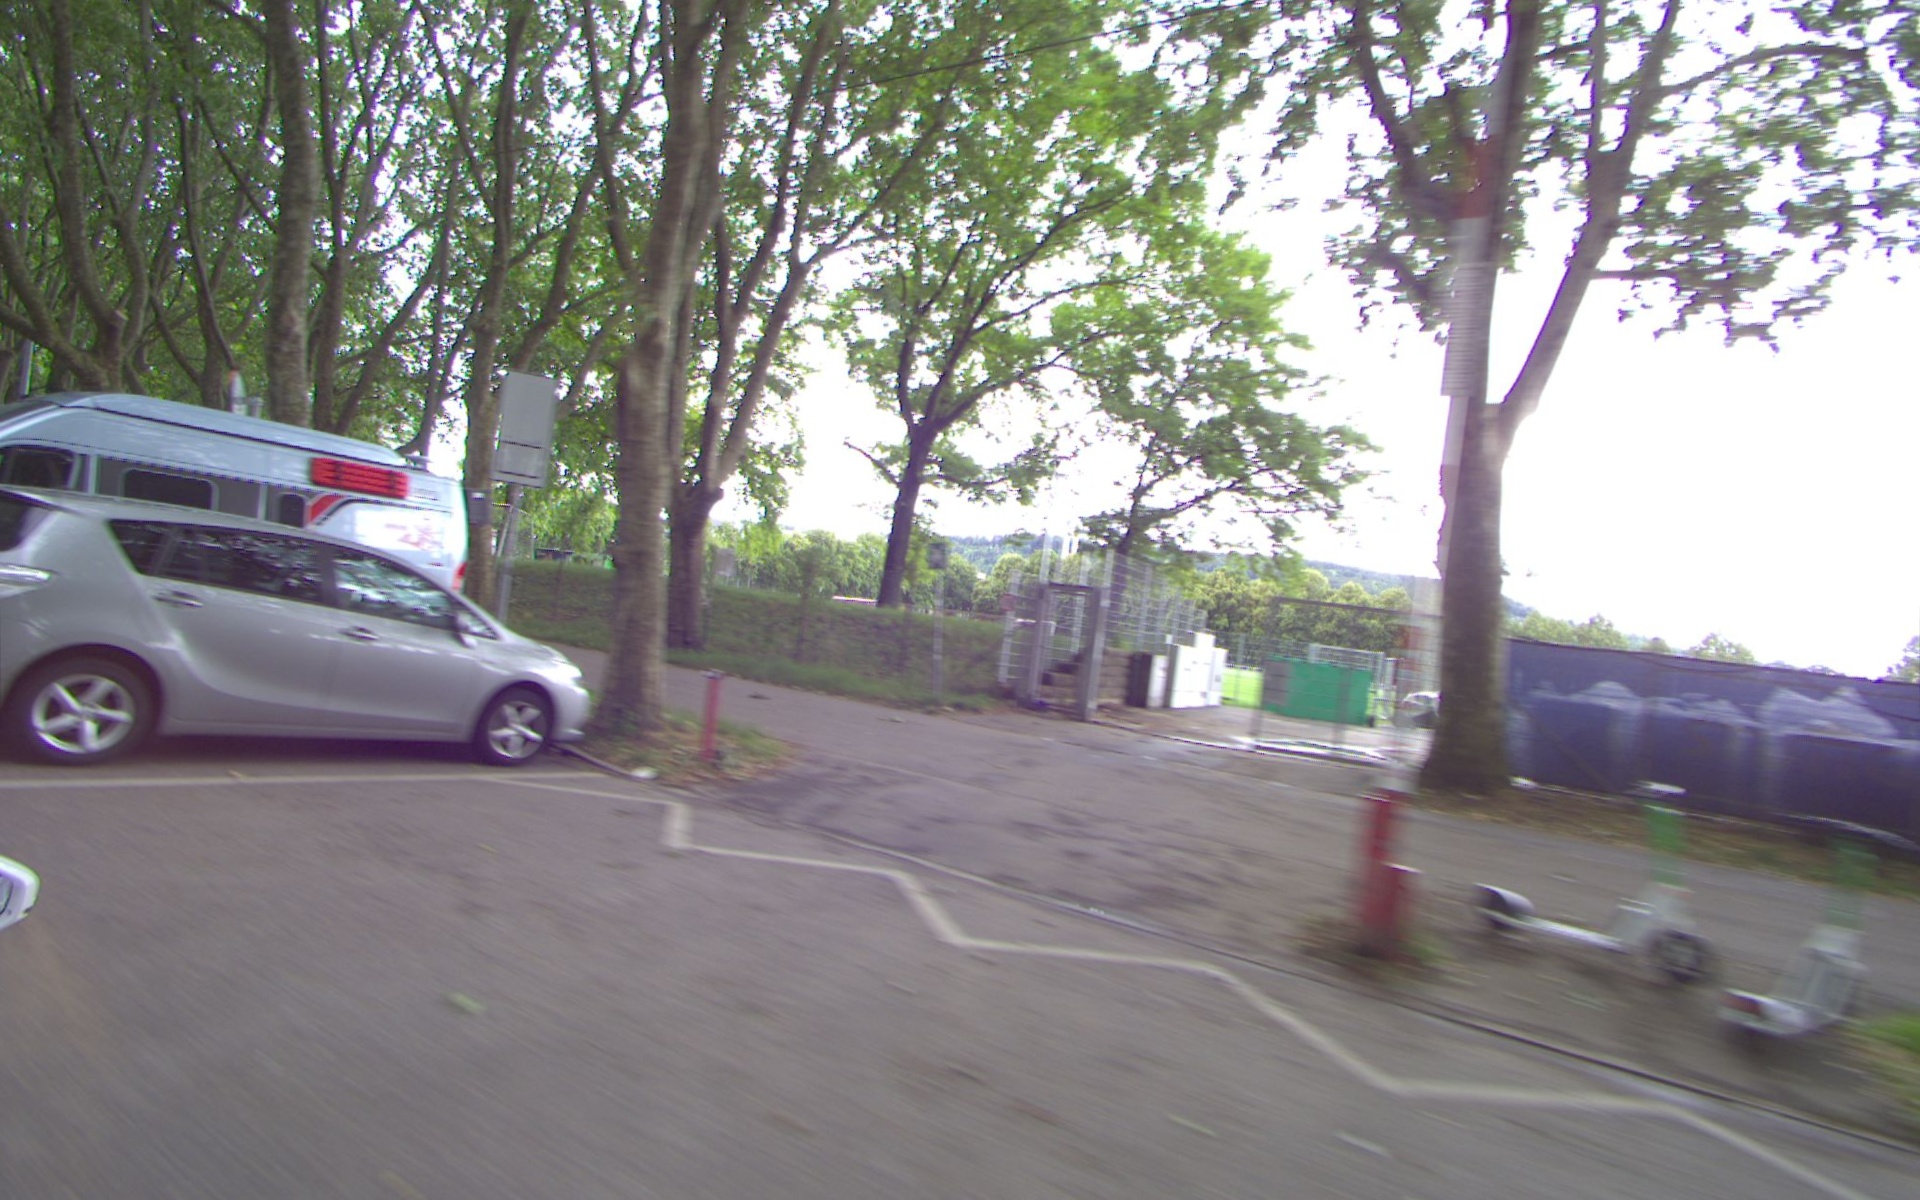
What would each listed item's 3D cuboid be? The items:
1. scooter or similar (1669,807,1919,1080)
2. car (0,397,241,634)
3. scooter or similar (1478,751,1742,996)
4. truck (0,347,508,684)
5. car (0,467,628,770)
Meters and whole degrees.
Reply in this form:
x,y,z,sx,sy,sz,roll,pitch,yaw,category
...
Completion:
x,y,z,sx,sy,sz,roll,pitch,yaw,category
4.542,1.767,5.386,1.258,1.142,0.597,4,4,-28,scooter or similar
-12.886,-1.256,13.023,1.925,2.719,5.241,7,-3,32,car
4.075,1.663,6.360,1.254,1.197,0.386,6,-1,37,scooter or similar
-8.428,-0.732,10.698,2.063,2.745,6.309,7,-2,31,truck
-4.930,0.269,7.495,1.775,1.635,4.349,7,-4,34,car
